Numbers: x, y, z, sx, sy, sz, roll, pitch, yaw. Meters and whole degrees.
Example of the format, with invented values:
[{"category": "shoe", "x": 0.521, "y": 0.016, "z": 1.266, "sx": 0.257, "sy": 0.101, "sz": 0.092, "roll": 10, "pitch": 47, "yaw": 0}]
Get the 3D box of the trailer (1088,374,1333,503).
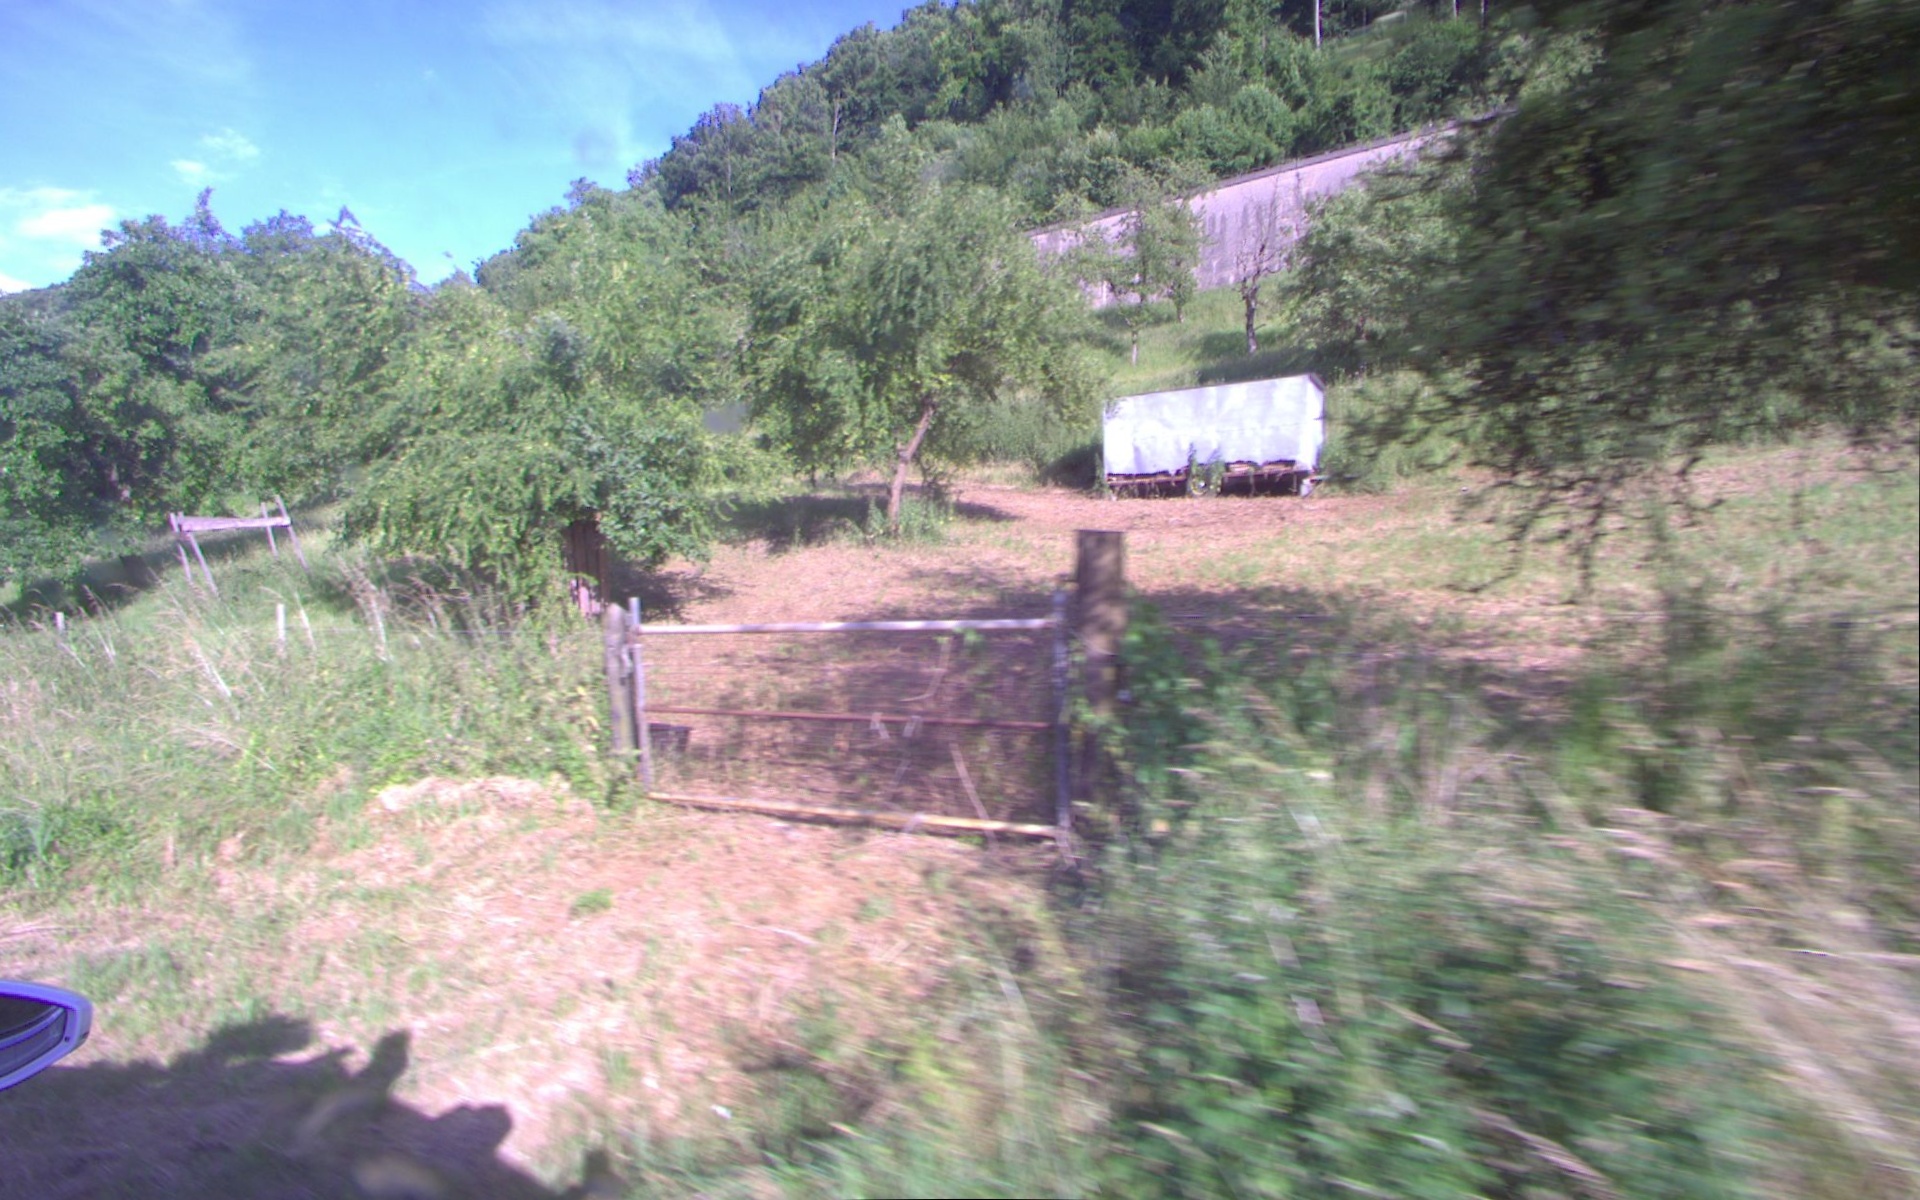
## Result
[{"category": "trailer", "x": 5.845, "y": -3.642, "z": 23.532, "sx": 5.164, "sy": 2.595, "sz": 2.149, "roll": 2, "pitch": 4, "yaw": 28}]
